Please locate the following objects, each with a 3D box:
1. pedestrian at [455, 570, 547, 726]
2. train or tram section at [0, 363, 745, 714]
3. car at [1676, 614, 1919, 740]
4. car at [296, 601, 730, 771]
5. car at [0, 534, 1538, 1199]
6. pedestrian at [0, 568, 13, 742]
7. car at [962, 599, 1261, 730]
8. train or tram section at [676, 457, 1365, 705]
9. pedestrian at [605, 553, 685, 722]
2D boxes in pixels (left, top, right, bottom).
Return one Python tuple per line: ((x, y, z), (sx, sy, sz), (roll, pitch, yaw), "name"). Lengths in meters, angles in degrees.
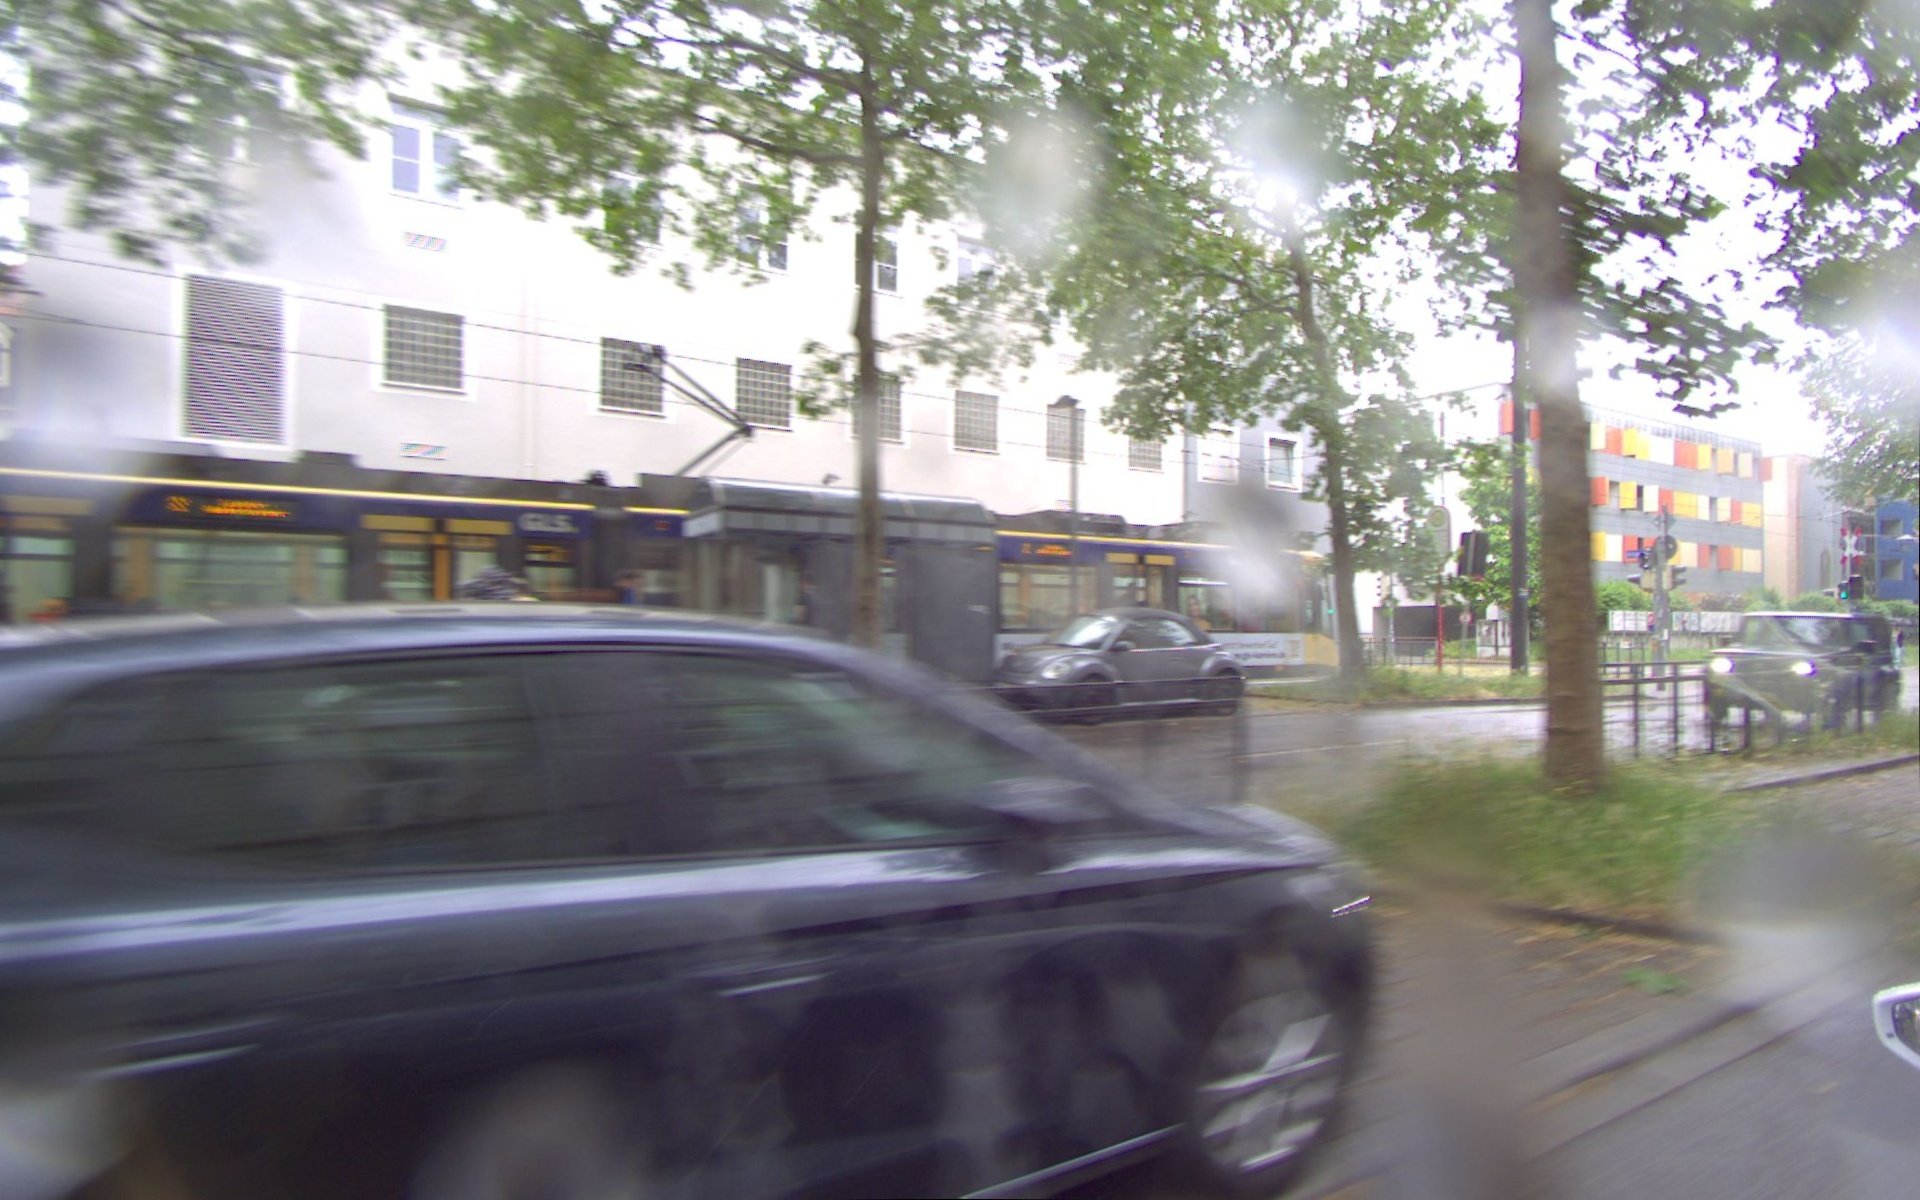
((-5.344, 0.538, 11.687), (0.862, 1.726, 0.813), (1, -1, -32), "pedestrian")
((-10.038, -0.565, 12.022), (14.422, 3.604, 3.088), (3, -3, -33), "train or tram section")
((12.687, 1.047, 14.944), (3.956, 1.634, 1.986), (1, -1, -32), "car")
((-4.400, 0.745, 10.088), (3.714, 1.361, 1.729), (1, 1, -32), "car")
((-0.428, 0.703, 2.639), (4.073, 1.520, 1.640), (2, 0, -32), "car")
((-9.882, 0.540, 9.731), (0.862, 1.726, 0.813), (1, -1, -32), "pedestrian")
((2.220, 0.849, 14.450), (3.956, 1.634, 1.983), (1, -1, -32), "car")
((2.101, 0.067, 19.826), (14.516, 3.604, 3.089), (3, -3, -32), "train or tram section")
((-3.997, 0.462, 12.719), (0.810, 2.040, 0.866), (1, -1, -28), "pedestrian")
